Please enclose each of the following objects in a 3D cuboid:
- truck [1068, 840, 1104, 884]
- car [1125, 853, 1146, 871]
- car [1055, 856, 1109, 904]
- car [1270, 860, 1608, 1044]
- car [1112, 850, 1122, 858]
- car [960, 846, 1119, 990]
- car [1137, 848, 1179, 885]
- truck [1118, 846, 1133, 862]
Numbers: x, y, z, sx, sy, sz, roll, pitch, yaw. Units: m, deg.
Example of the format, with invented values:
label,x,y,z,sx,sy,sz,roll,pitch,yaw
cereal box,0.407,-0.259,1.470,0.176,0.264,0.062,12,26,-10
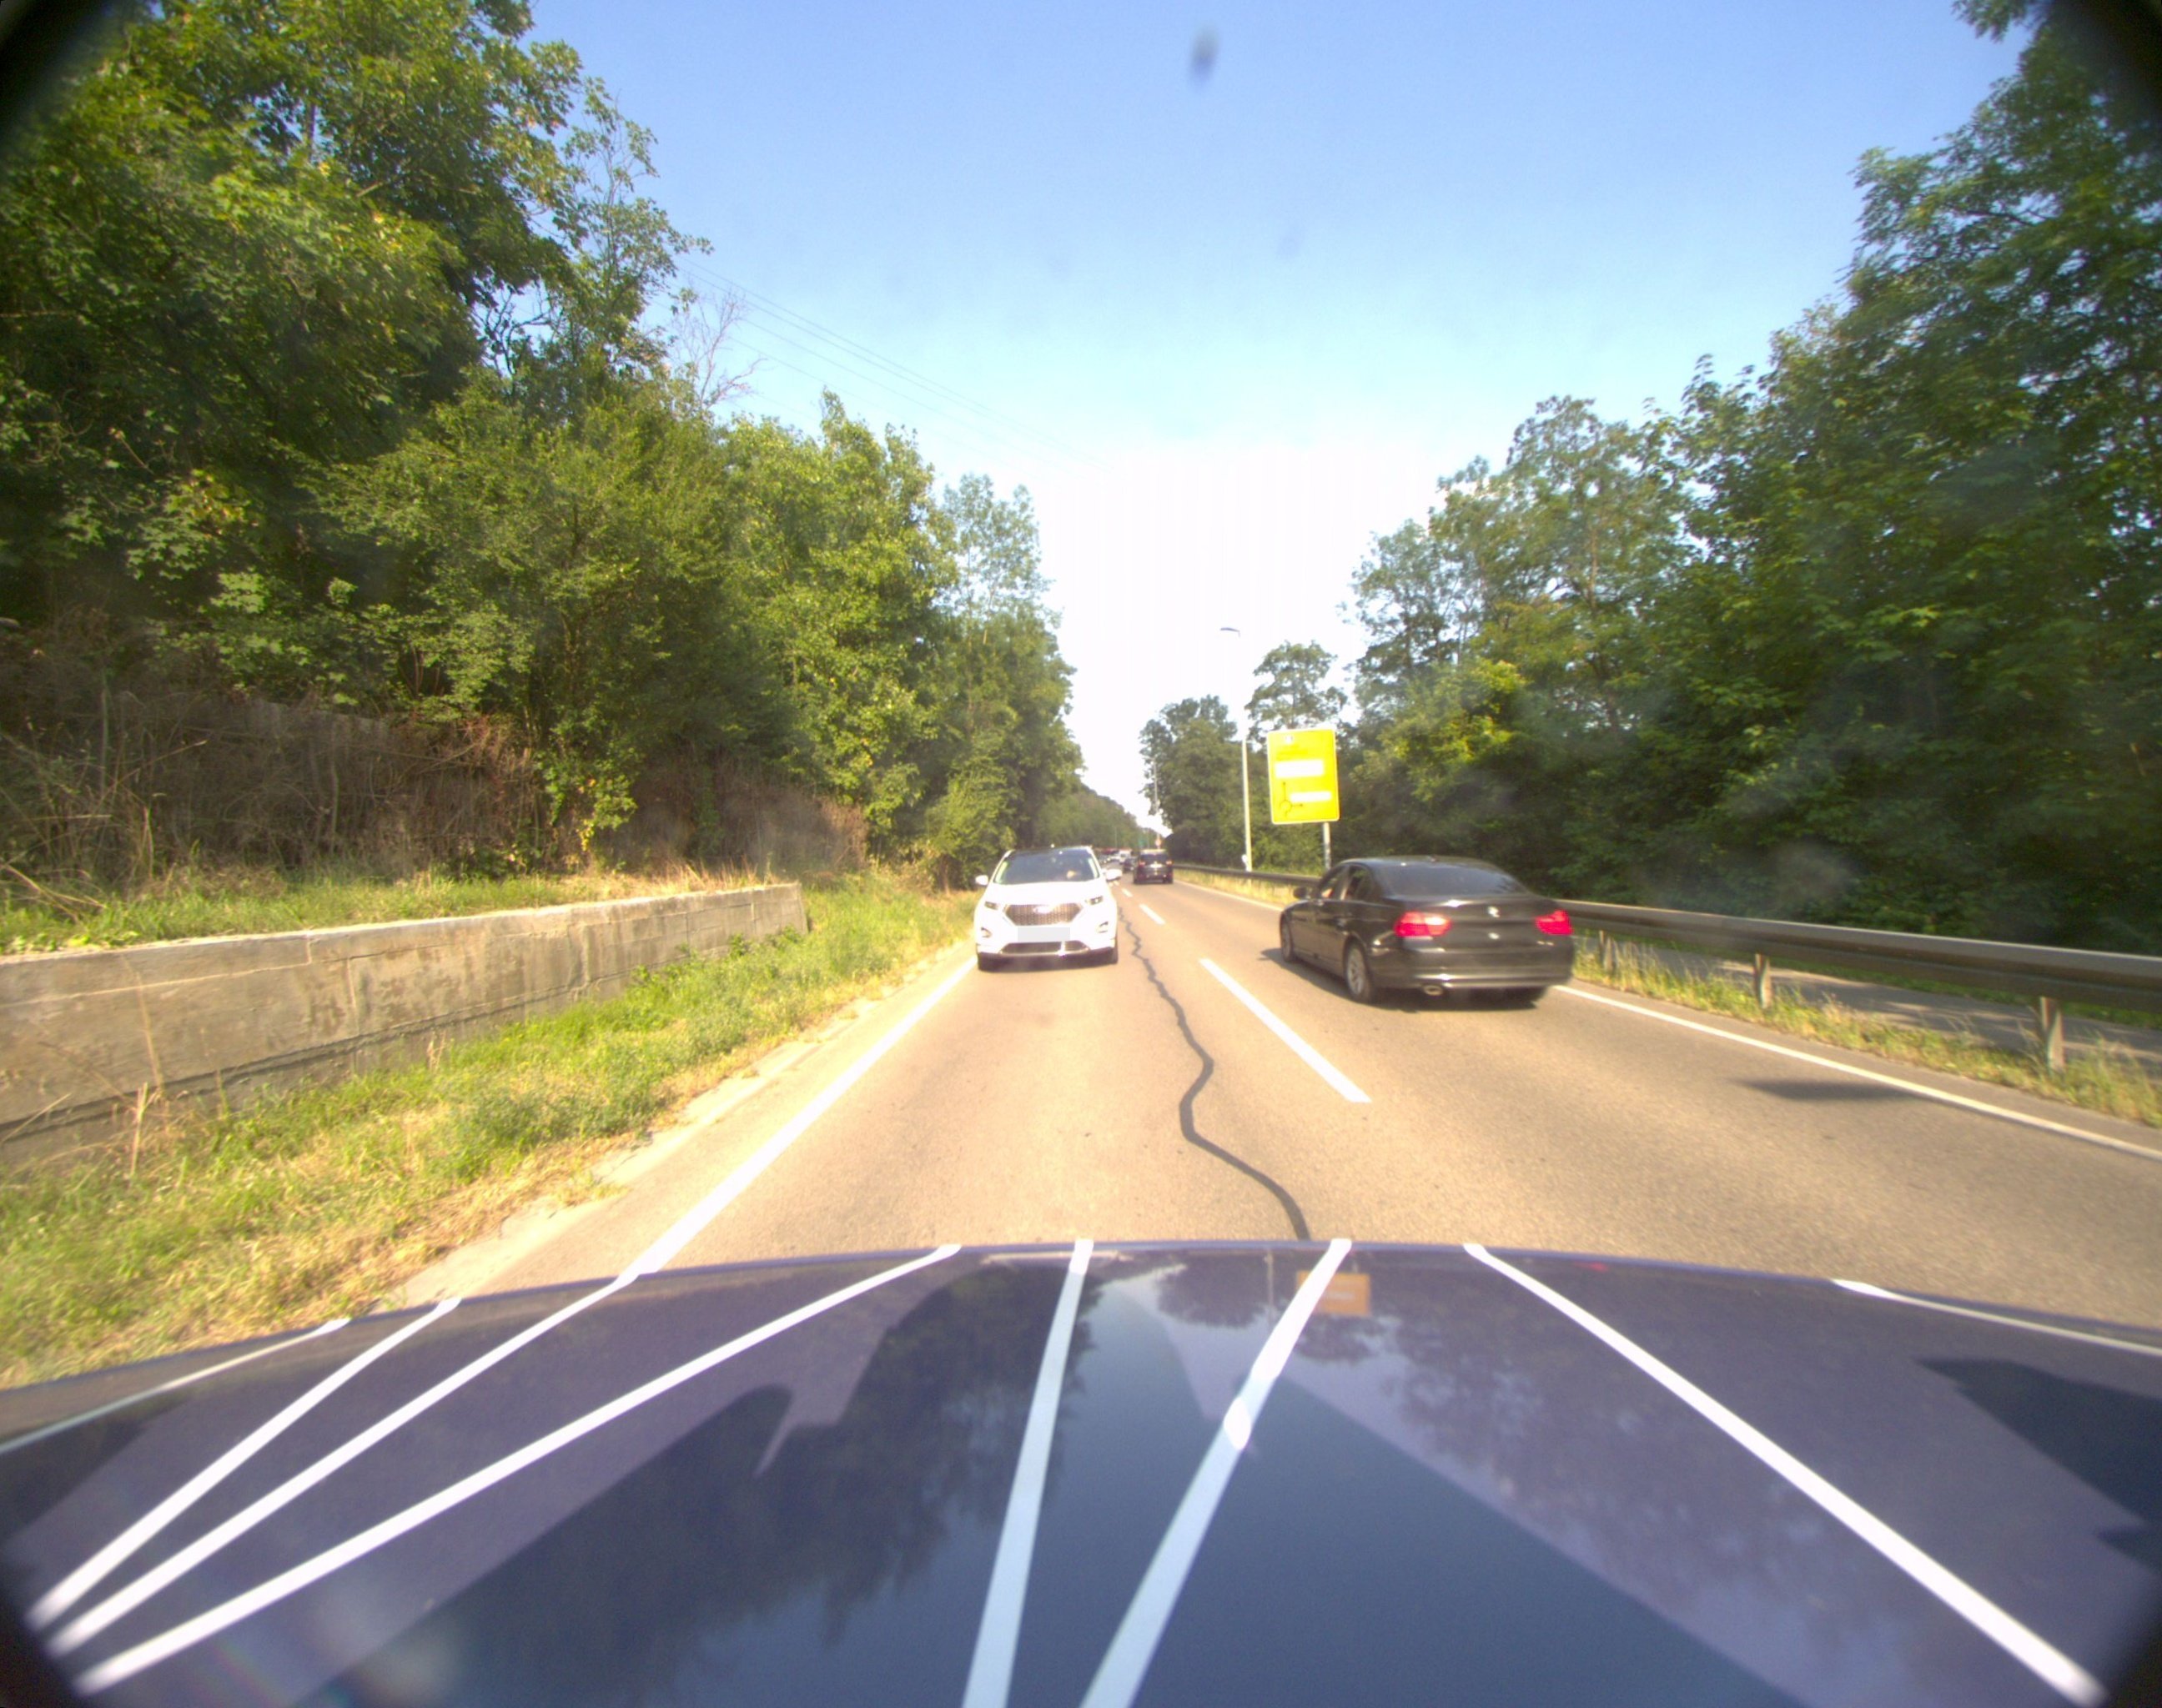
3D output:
label,x,y,z,sx,sy,sz,roll,pitch,yaw
truck,0.314,0.449,44.757,1.894,2.334,5.273,-2,0,1
car,4.637,0.654,65.025,1.685,1.434,4.000,-2,1,3
car,0.067,0.852,27.028,1.704,1.477,4.136,-2,0,1
car,3.379,0.799,8.146,1.696,1.412,4.141,-1,0,0
car,8.225,-0.068,172.484,1.997,1.647,4.002,-1,0,8
car,-0.487,0.800,11.577,1.894,1.691,4.136,-3,0,1
car,3.803,0.576,38.052,1.752,1.707,4.221,-1,0,2
truck,7.397,-0.038,126.282,2.062,2.371,5.875,-3,1,6
